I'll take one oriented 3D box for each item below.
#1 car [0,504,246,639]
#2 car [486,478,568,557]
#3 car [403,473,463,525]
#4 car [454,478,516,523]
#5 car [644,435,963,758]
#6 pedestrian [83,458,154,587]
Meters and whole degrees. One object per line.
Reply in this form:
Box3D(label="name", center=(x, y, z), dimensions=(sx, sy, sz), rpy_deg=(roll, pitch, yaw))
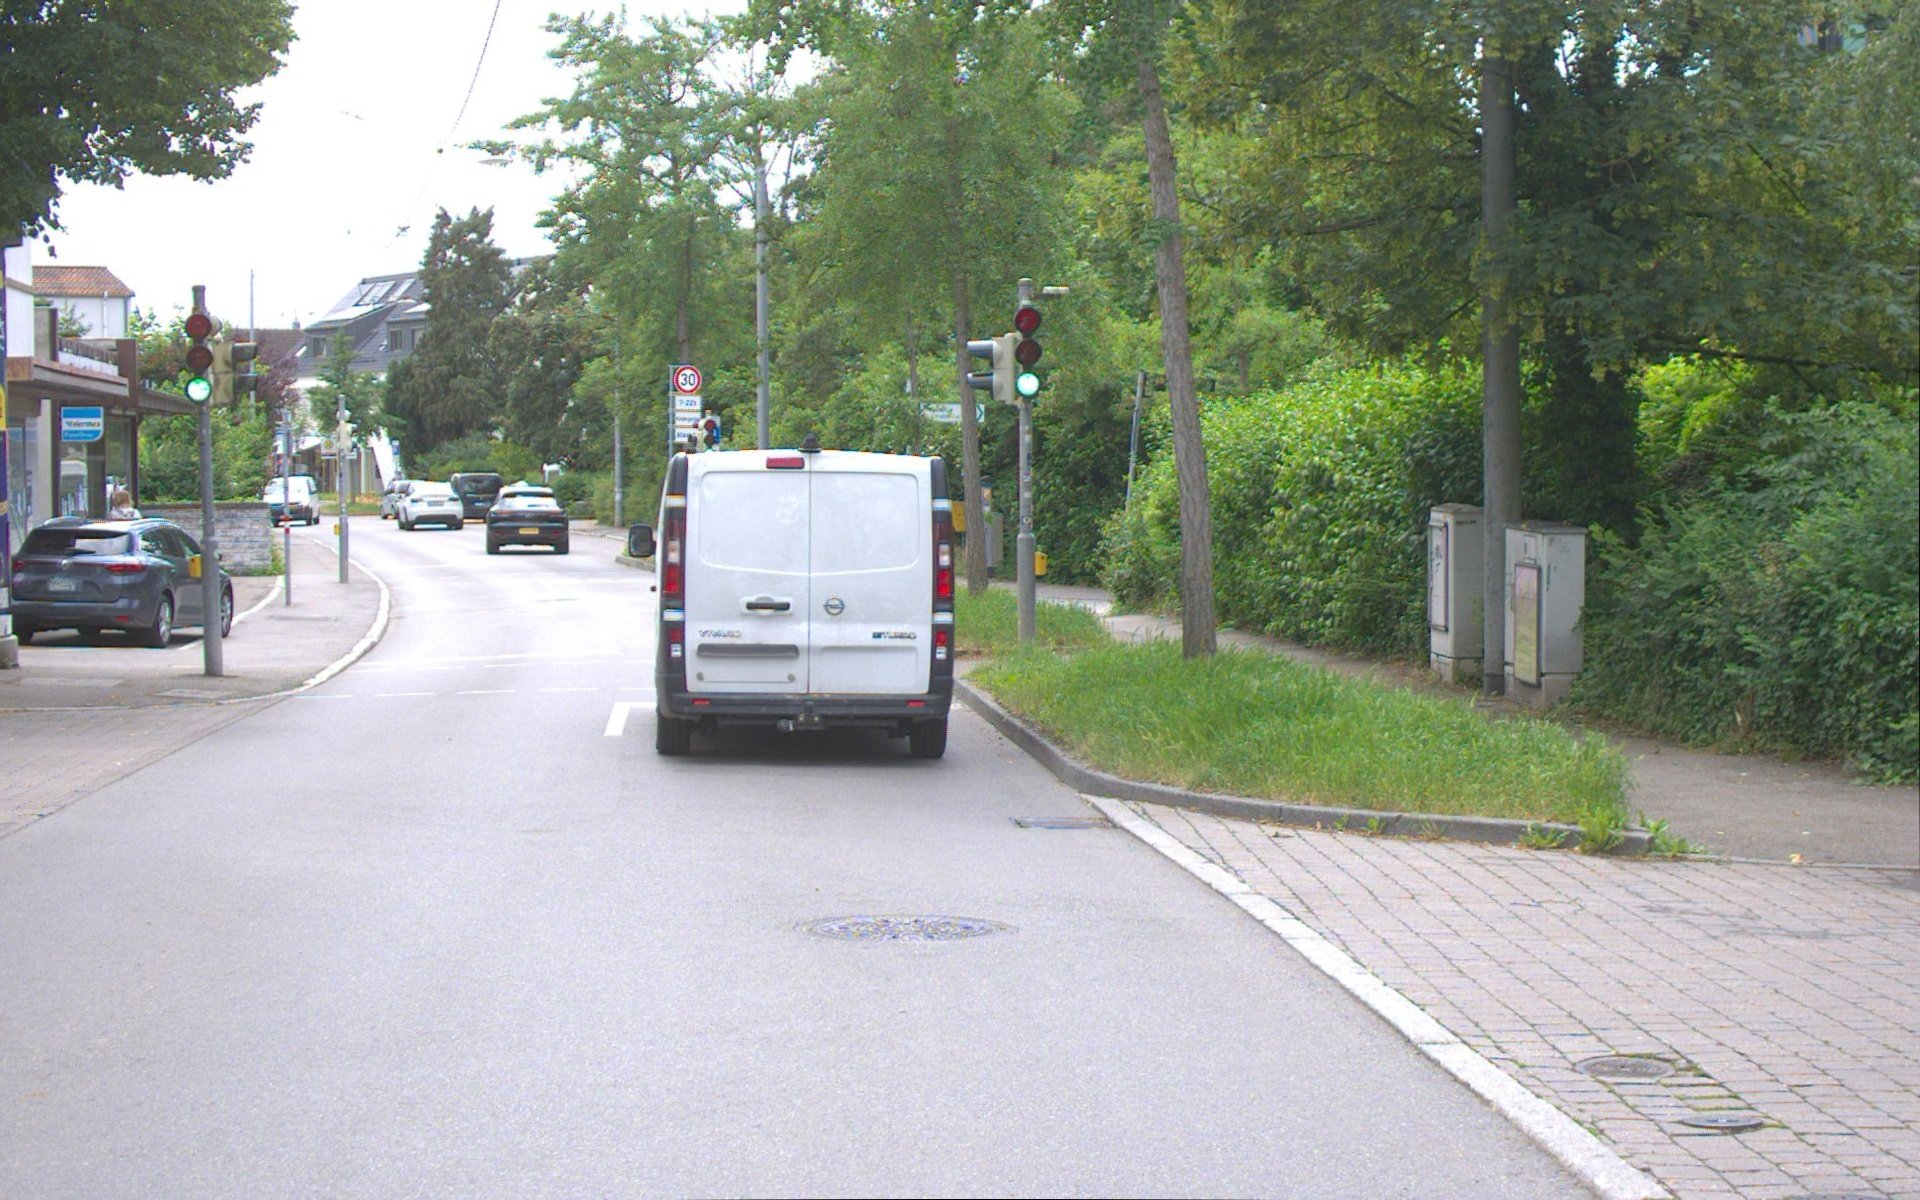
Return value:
Box3D(label="car", center=(-9.805, -0.348, 40.140), dimensions=(1.779, 1.436, 4.525), rpy_deg=(2, 1, 3))
Box3D(label="car", center=(-10.472, -1.998, 83.136), dimensions=(1.896, 1.853, 4.405), rpy_deg=(0, 1, -7))
Box3D(label="car", center=(-17.941, -3.426, 116.982), dimensions=(1.824, 1.722, 4.001), rpy_deg=(0, 1, -11))
Box3D(label="car", center=(-17.677, -3.699, 127.833), dimensions=(1.893, 1.605, 4.502), rpy_deg=(0, 1, -13))
Box3D(label="car", center=(-1.138, -0.073, 23.121), dimensions=(1.929, 1.957, 4.403), rpy_deg=(0, 1, -5))
Box3D(label="pedestrian", center=(-11.629, -1.073, 47.523), dimensions=(0.882, 1.744, 0.964), rpy_deg=(2, 1, -12))
